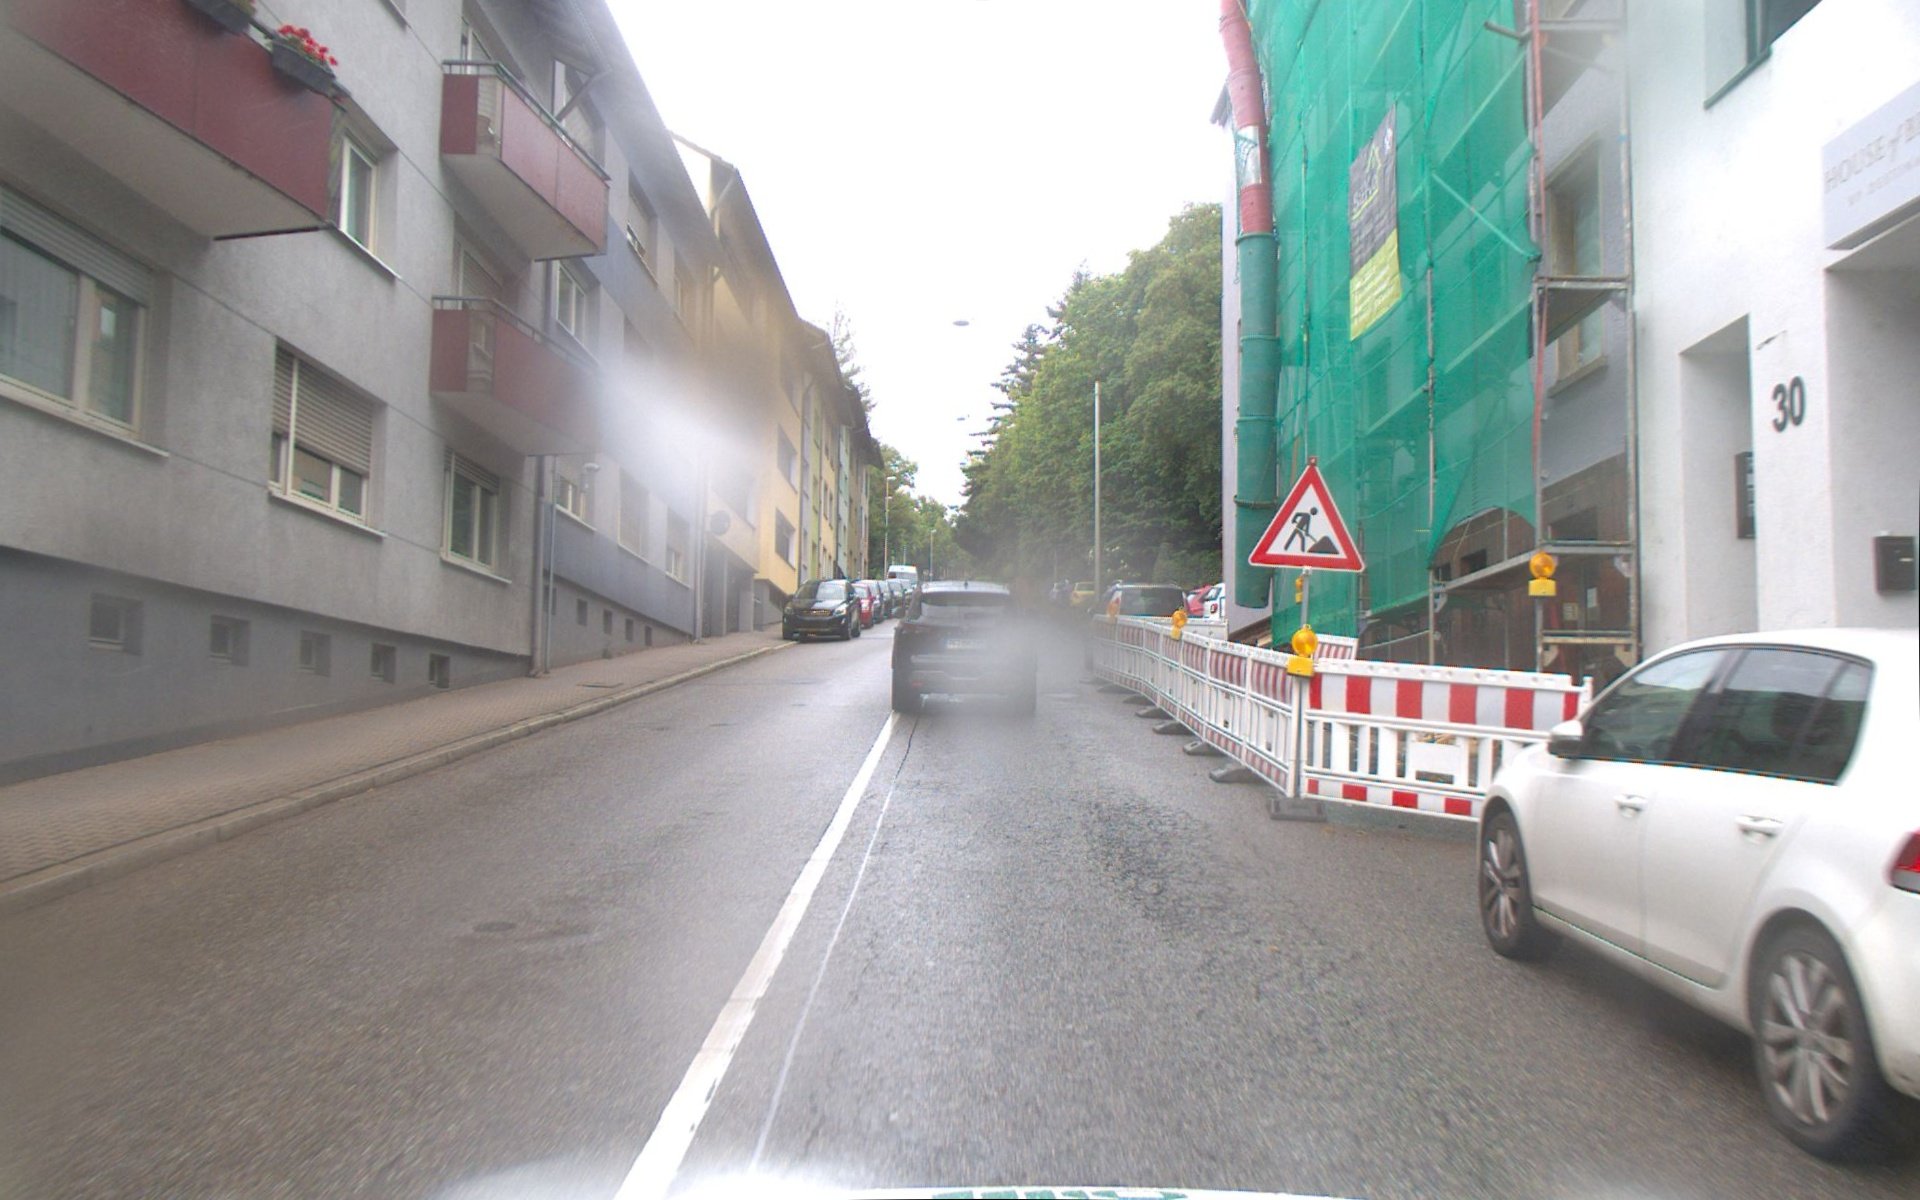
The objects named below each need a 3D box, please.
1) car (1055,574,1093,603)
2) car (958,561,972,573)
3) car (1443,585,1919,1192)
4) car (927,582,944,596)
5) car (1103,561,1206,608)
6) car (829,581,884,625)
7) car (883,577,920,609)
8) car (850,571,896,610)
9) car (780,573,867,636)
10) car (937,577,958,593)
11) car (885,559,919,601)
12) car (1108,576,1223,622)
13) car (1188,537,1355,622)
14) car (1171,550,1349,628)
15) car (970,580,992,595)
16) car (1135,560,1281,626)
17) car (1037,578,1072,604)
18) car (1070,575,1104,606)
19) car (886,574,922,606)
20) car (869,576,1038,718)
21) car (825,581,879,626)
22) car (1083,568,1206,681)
[{"bbox_3d":[6.447,-0.674,93.899,1.774,1.556,4.417,-2,1,-1],"label":"car"},{"bbox_3d":[0.827,-4.879,247.017,1.952,1.587,4.001,0,-1,2],"label":"car"},{"bbox_3d":[3.431,0.759,6.169,1.953,1.538,4.337,2,0,0],"label":"car"},{"bbox_3d":[-2.923,-1.323,197.447,2.032,1.586,3.999,1,1,-1],"label":"car"},{"bbox_3d":[8.386,-0.687,71.595,4.115,1.764,1.759,3,1,-4],"label":"car"},{"bbox_3d":[-3.983,0.083,64.279,1.953,1.612,4.471,0,1,-1],"label":"car"},{"bbox_3d":[-3.117,-0.401,88.720,1.950,1.612,4.304,0,1,-1],"label":"car"},{"bbox_3d":[-3.723,-0.429,71.436,1.815,1.612,4.304,0,1,-1],"label":"car"},{"bbox_3d":[-3.844,0.084,47.199,1.952,1.678,4.443,0,1,2],"label":"car"},{"bbox_3d":[-1.306,-1.608,171.396,2.032,1.586,3.999,1,1,-2],"label":"car"},{"bbox_3d":[-3.564,-1.230,102.442,1.950,2.518,5.783,0,1,-1],"label":"car"},{"bbox_3d":[7.870,-0.046,63.514,4.114,1.522,1.759,3,1,-2],"label":"car"},{"bbox_3d":[7.819,-0.510,41.708,3.750,1.731,1.728,-6,1,-2],"label":"car"},{"bbox_3d":[7.939,-0.297,44.016,4.255,1.556,1.876,-7,1,-1],"label":"car"},{"bbox_3d":[2.195,-1.328,175.644,2.033,1.586,3.998,1,1,-3],"label":"car"},{"bbox_3d":[7.275,-0.207,48.652,3.884,1.556,1.691,-5,1,-4],"label":"car"},{"bbox_3d":[5.964,-0.576,104.428,1.774,1.556,4.415,-2,1,-2],"label":"car"},{"bbox_3d":[6.630,-0.497,86.936,1.599,1.556,4.002,2,1,2],"label":"car"},{"bbox_3d":[-3.179,-0.602,94.854,1.950,1.786,4.479,0,1,-1],"label":"car"},{"bbox_3d":[-0.081,0.527,21.555,1.953,1.586,4.000,2,1,0],"label":"car"},{"bbox_3d":[-3.722,0.089,57.556,1.693,1.498,3.491,0,1,-1],"label":"car"},{"bbox_3d":[3.207,0.366,29.420,1.607,1.793,4.000,2,1,-1],"label":"car"}]
